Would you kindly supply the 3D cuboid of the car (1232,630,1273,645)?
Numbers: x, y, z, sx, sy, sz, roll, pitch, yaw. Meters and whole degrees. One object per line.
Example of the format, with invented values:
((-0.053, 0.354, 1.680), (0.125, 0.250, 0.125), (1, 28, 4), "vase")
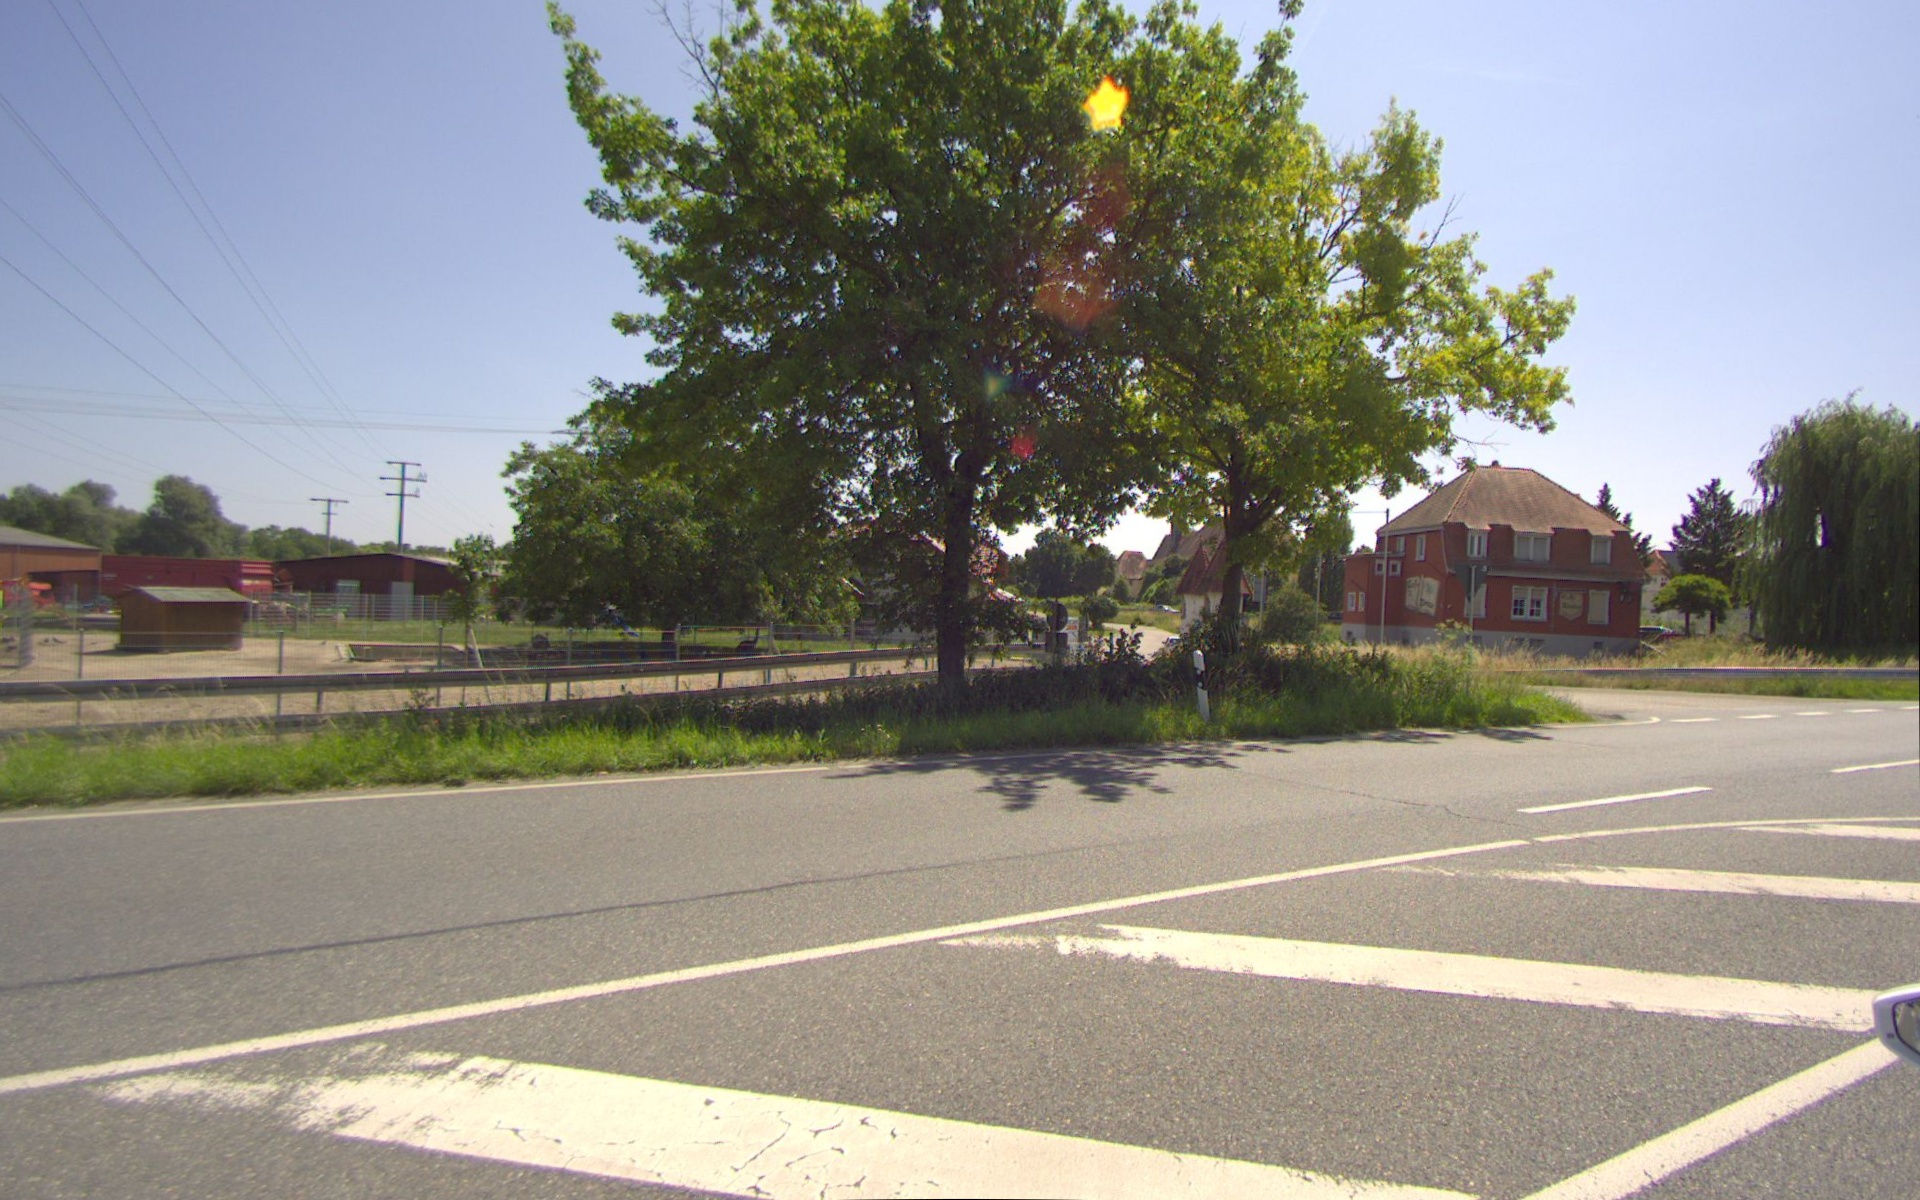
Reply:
((29.922, 3.857, 102.883), (3.919, 1.461, 1.590), (1, -1, 12), "car")
